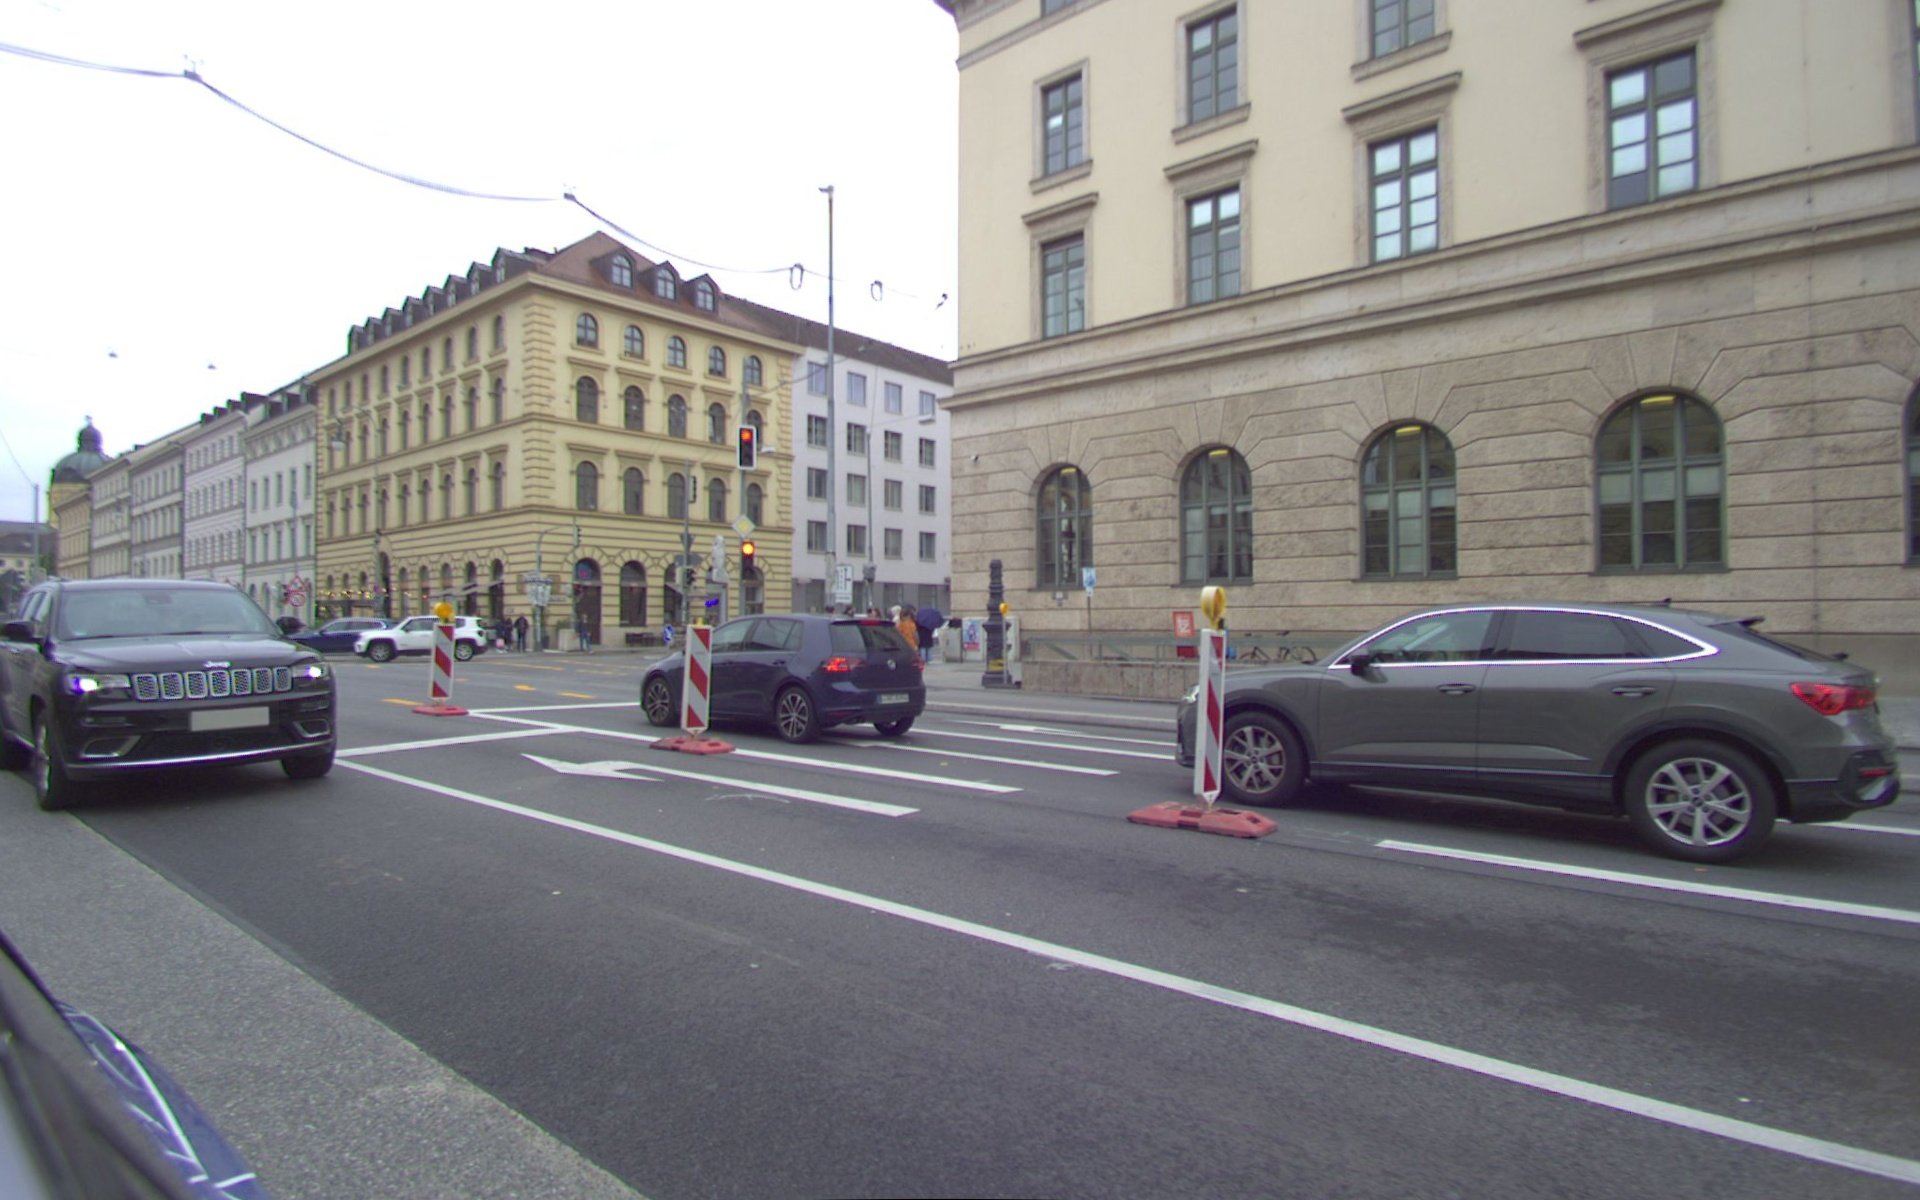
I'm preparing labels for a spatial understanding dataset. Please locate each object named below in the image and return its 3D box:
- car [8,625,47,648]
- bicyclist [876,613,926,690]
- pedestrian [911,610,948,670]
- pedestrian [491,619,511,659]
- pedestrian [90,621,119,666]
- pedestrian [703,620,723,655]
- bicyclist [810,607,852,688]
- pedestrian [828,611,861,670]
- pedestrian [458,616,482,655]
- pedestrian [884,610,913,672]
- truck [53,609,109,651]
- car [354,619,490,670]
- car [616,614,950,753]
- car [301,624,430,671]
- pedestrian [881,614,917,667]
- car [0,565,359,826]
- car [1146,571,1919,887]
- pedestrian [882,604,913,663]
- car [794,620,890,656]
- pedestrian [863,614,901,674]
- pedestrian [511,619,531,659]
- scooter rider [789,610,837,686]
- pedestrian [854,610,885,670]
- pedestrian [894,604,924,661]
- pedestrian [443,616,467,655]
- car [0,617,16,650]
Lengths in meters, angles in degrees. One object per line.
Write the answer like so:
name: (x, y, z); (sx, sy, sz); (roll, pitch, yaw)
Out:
car: (-73.865, 2.871, 80.108); (3.997, 1.733, 1.799); (-1, -2, 40)
bicyclist: (-1.286, 1.104, 22.170); (0.746, 1.627, 0.784); (0, -1, 43)
pedestrian: (-0.889, 1.145, 29.387); (0.717, 1.706, 0.808); (0, -1, 42)
pedestrian: (-20.727, 1.769, 45.719); (0.747, 1.785, 0.738); (1, -1, -29)
pedestrian: (-34.255, 1.728, 40.515); (0.738, 1.785, 0.727); (0, -1, 38)
pedestrian: (-13.054, 1.974, 53.427); (0.739, 1.785, 0.726); (0, -1, 41)
bicyclist: (-3.016, 1.096, 23.699); (0.746, 1.856, 0.651); (0, -1, 43)
pedestrian: (-3.527, 1.210, 30.895); (0.668, 1.769, 0.822); (1, -1, -33)
pedestrian: (-22.911, 1.662, 47.330); (0.733, 1.785, 0.731); (0, -1, 30)
pedestrian: (-1.710, 1.135, 28.033); (0.533, 1.684, 0.618); (1, -1, -42)
truck: (-59.347, 2.021, 68.309); (4.780, 2.683, 2.192); (-2, -2, 41)
car: (-18.990, 1.533, 35.890); (4.159, 1.690, 1.805); (0, -2, -26)
car: (-2.295, 0.913, 12.467); (4.237, 1.399, 1.726); (0, -2, 40)
car: (-22.658, 1.774, 38.752); (4.160, 1.690, 1.745); (0, -2, -28)
pedestrian: (-1.785, 1.186, 29.782); (0.807, 1.539, 0.668); (1, -1, -41)
car: (-7.296, 0.701, 9.055); (4.583, 1.748, 1.974); (-2, -2, 41)
car: (3.762, 0.721, 7.124); (4.572, 1.579, 1.767); (-1, -4, 40)
pedestrian: (-1.903, 1.006, 30.874); (0.806, 1.769, 0.587); (1, -1, -19)
car: (-5.310, 1.704, 45.961); (1.998, 1.535, 4.177); (-2, -2, 39)
pedestrian: (-2.108, 1.180, 27.466); (0.657, 1.569, 0.821); (1, -1, -42)
pedestrian: (-19.991, 1.762, 46.096); (0.726, 1.785, 0.738); (1, -1, -29)
scooter rider: (-3.264, 1.055, 22.484); (0.935, 1.635, 0.584); (0, -1, 42)
pedestrian: (-2.724, 1.194, 30.520); (0.806, 1.769, 0.587); (1, -1, -19)
pedestrian: (-1.615, 1.015, 31.855); (0.576, 1.769, 0.822); (1, -1, -35)
pedestrian: (-23.294, 1.640, 46.682); (0.733, 1.785, 0.731); (0, -1, 30)
car: (-60.985, 2.088, 63.591); (4.451, 2.029, 2.213); (-2, -2, 44)
